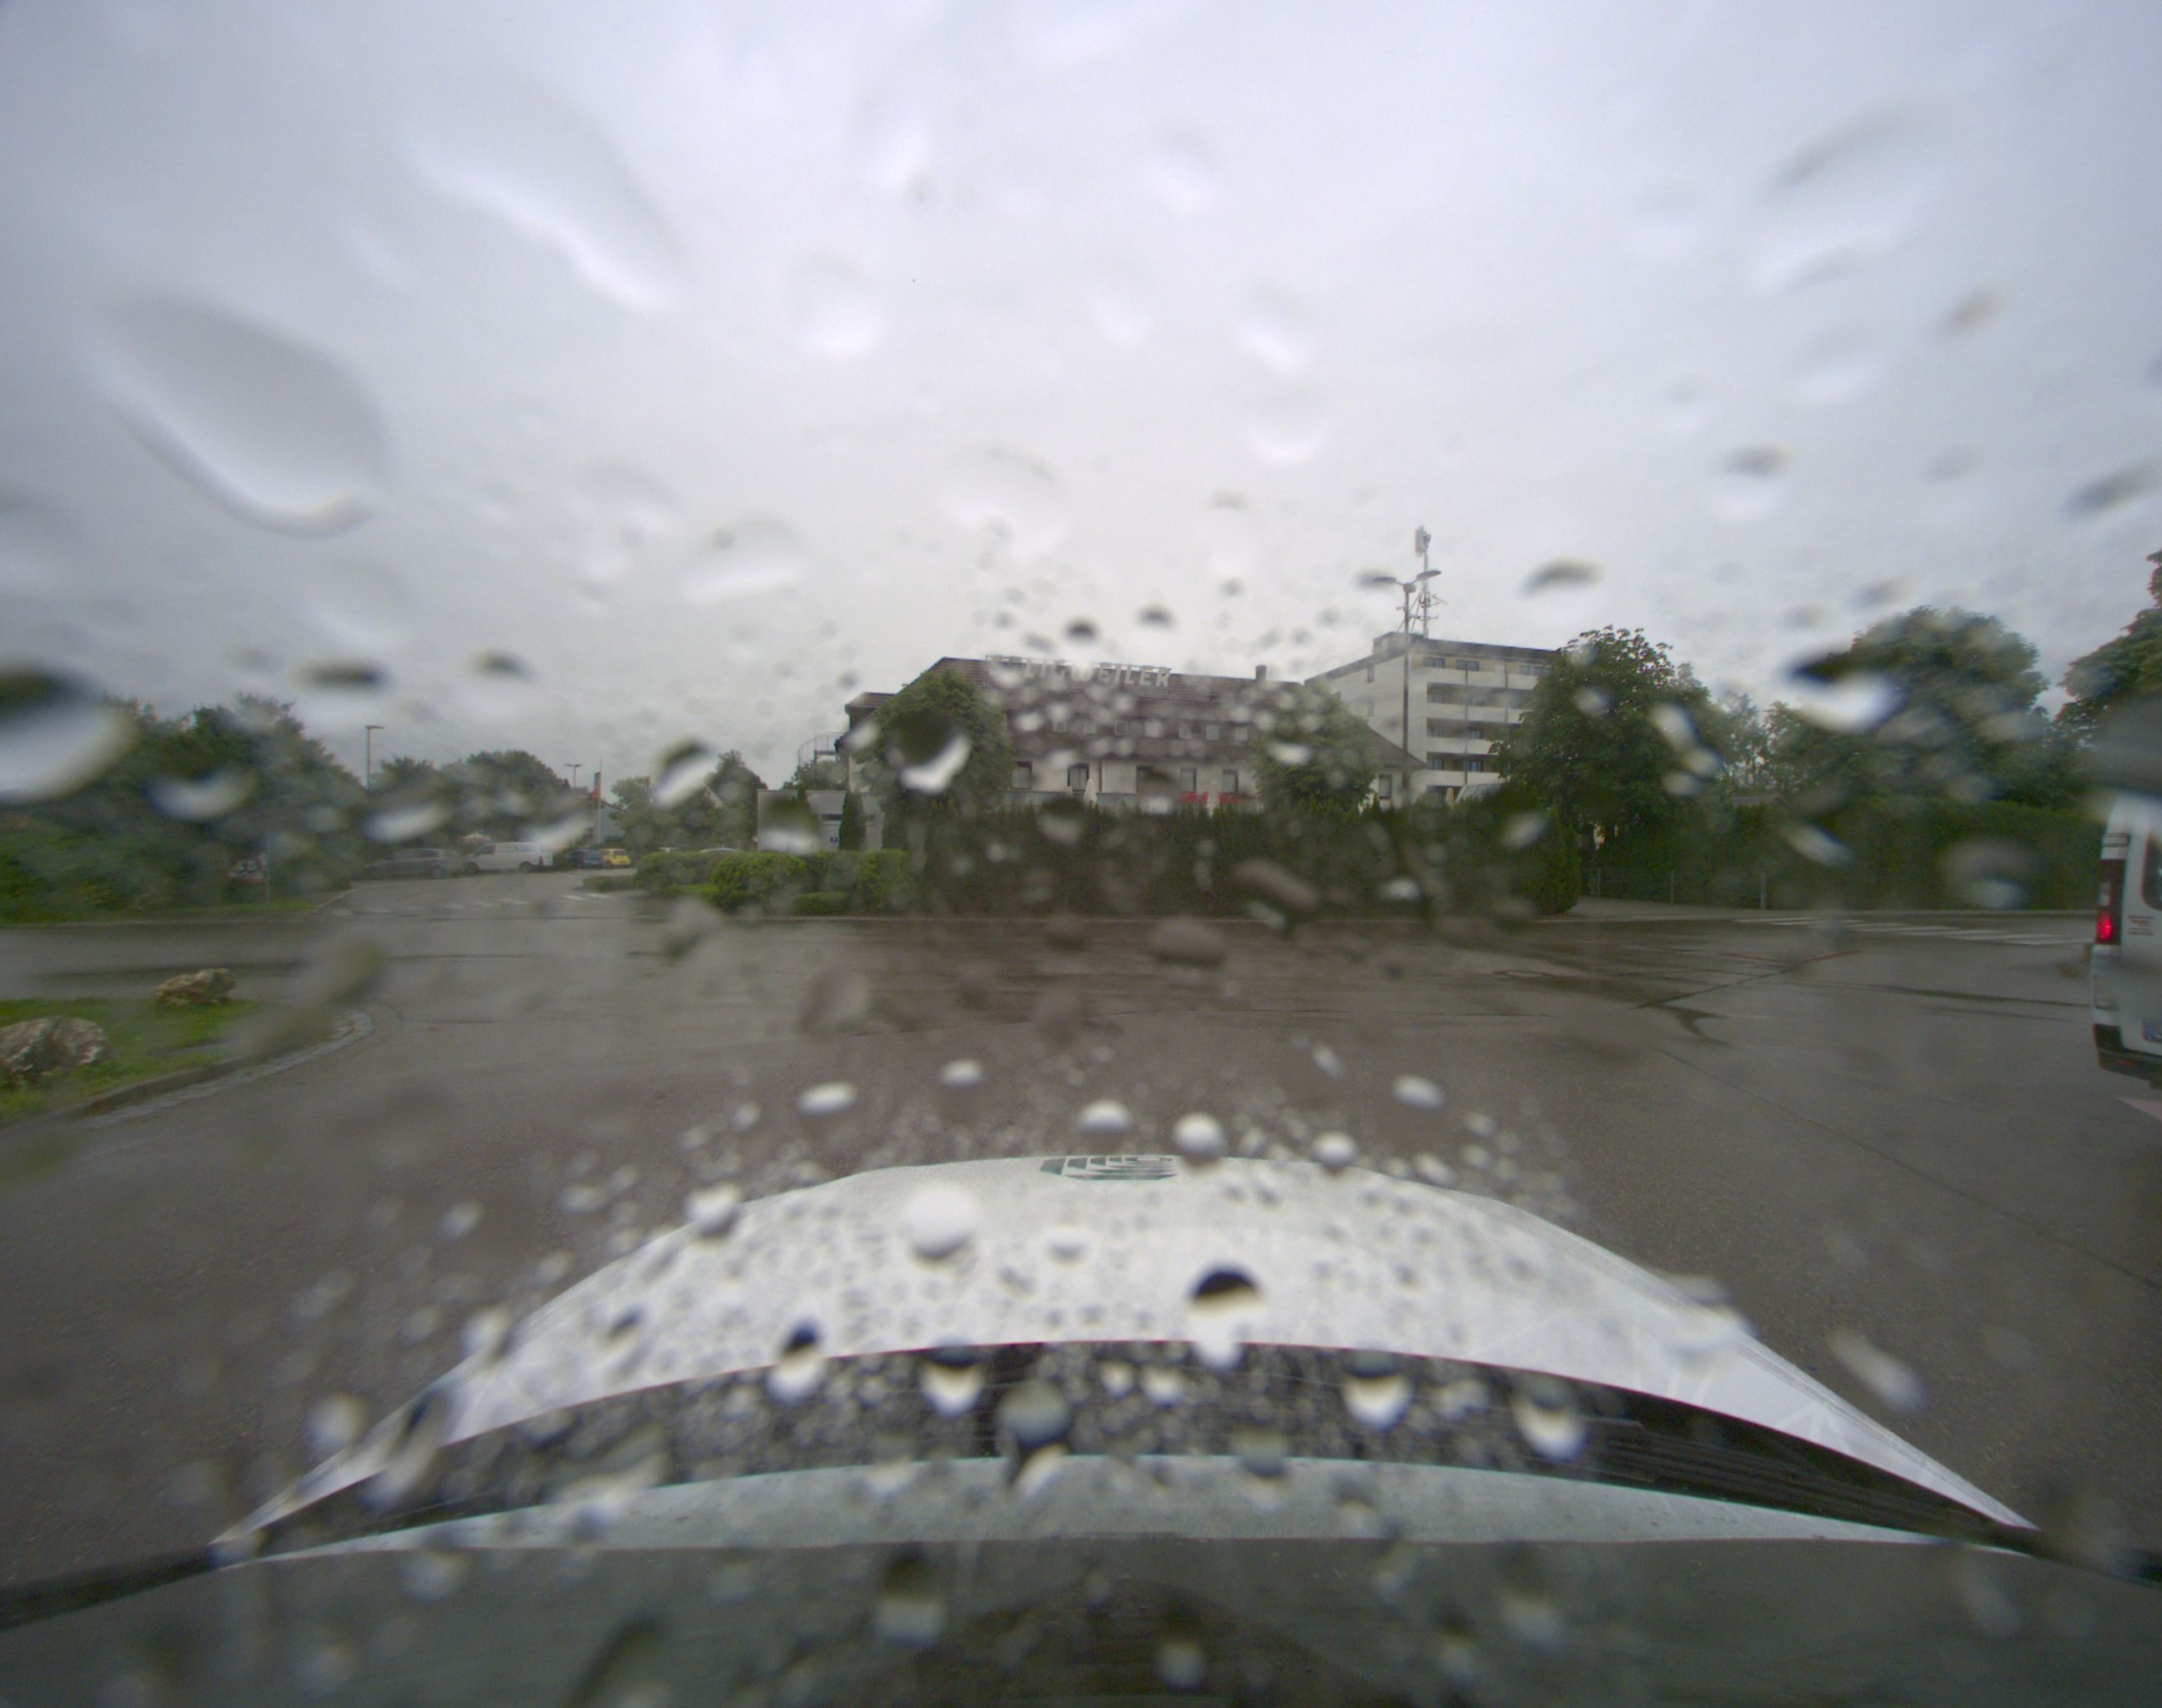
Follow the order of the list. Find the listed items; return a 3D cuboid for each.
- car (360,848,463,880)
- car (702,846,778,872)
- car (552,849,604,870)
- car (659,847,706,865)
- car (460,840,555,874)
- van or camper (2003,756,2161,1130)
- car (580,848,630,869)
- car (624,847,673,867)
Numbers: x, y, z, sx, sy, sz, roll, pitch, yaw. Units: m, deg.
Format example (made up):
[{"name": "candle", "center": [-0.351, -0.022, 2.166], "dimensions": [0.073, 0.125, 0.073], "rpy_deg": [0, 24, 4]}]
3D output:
[{"name": "car", "center": [-33.985, 0.488, 41.415], "dimensions": [3.739, 1.551, 1.443], "rpy_deg": [-1, 1, -16]}, {"name": "car", "center": [-21.404, 0.306, 51.213], "dimensions": [4.184, 1.497, 1.709], "rpy_deg": [-1, 1, -16]}, {"name": "car", "center": [-36.449, 0.362, 58.958], "dimensions": [3.633, 1.458, 1.566], "rpy_deg": [0, 1, 28]}, {"name": "car", "center": [-32.483, 0.167, 66.442], "dimensions": [3.633, 1.458, 1.595], "rpy_deg": [0, 1, 28]}, {"name": "car", "center": [-36.052, 0.162, 51.283], "dimensions": [4.529, 2.033, 1.636], "rpy_deg": [-1, 1, -16]}, {"name": "van or camper", "center": [8.193, 0.500, 3.850], "dimensions": [5.161, 1.945, 2.195], "rpy_deg": [1, -1, 1]}, {"name": "car", "center": [-35.940, 0.323, 61.503], "dimensions": [3.633, 1.458, 1.595], "rpy_deg": [0, 1, 28]}, {"name": "car", "center": [-34.117, 0.241, 64.213], "dimensions": [3.633, 1.458, 1.595], "rpy_deg": [0, 1, 28]}]
